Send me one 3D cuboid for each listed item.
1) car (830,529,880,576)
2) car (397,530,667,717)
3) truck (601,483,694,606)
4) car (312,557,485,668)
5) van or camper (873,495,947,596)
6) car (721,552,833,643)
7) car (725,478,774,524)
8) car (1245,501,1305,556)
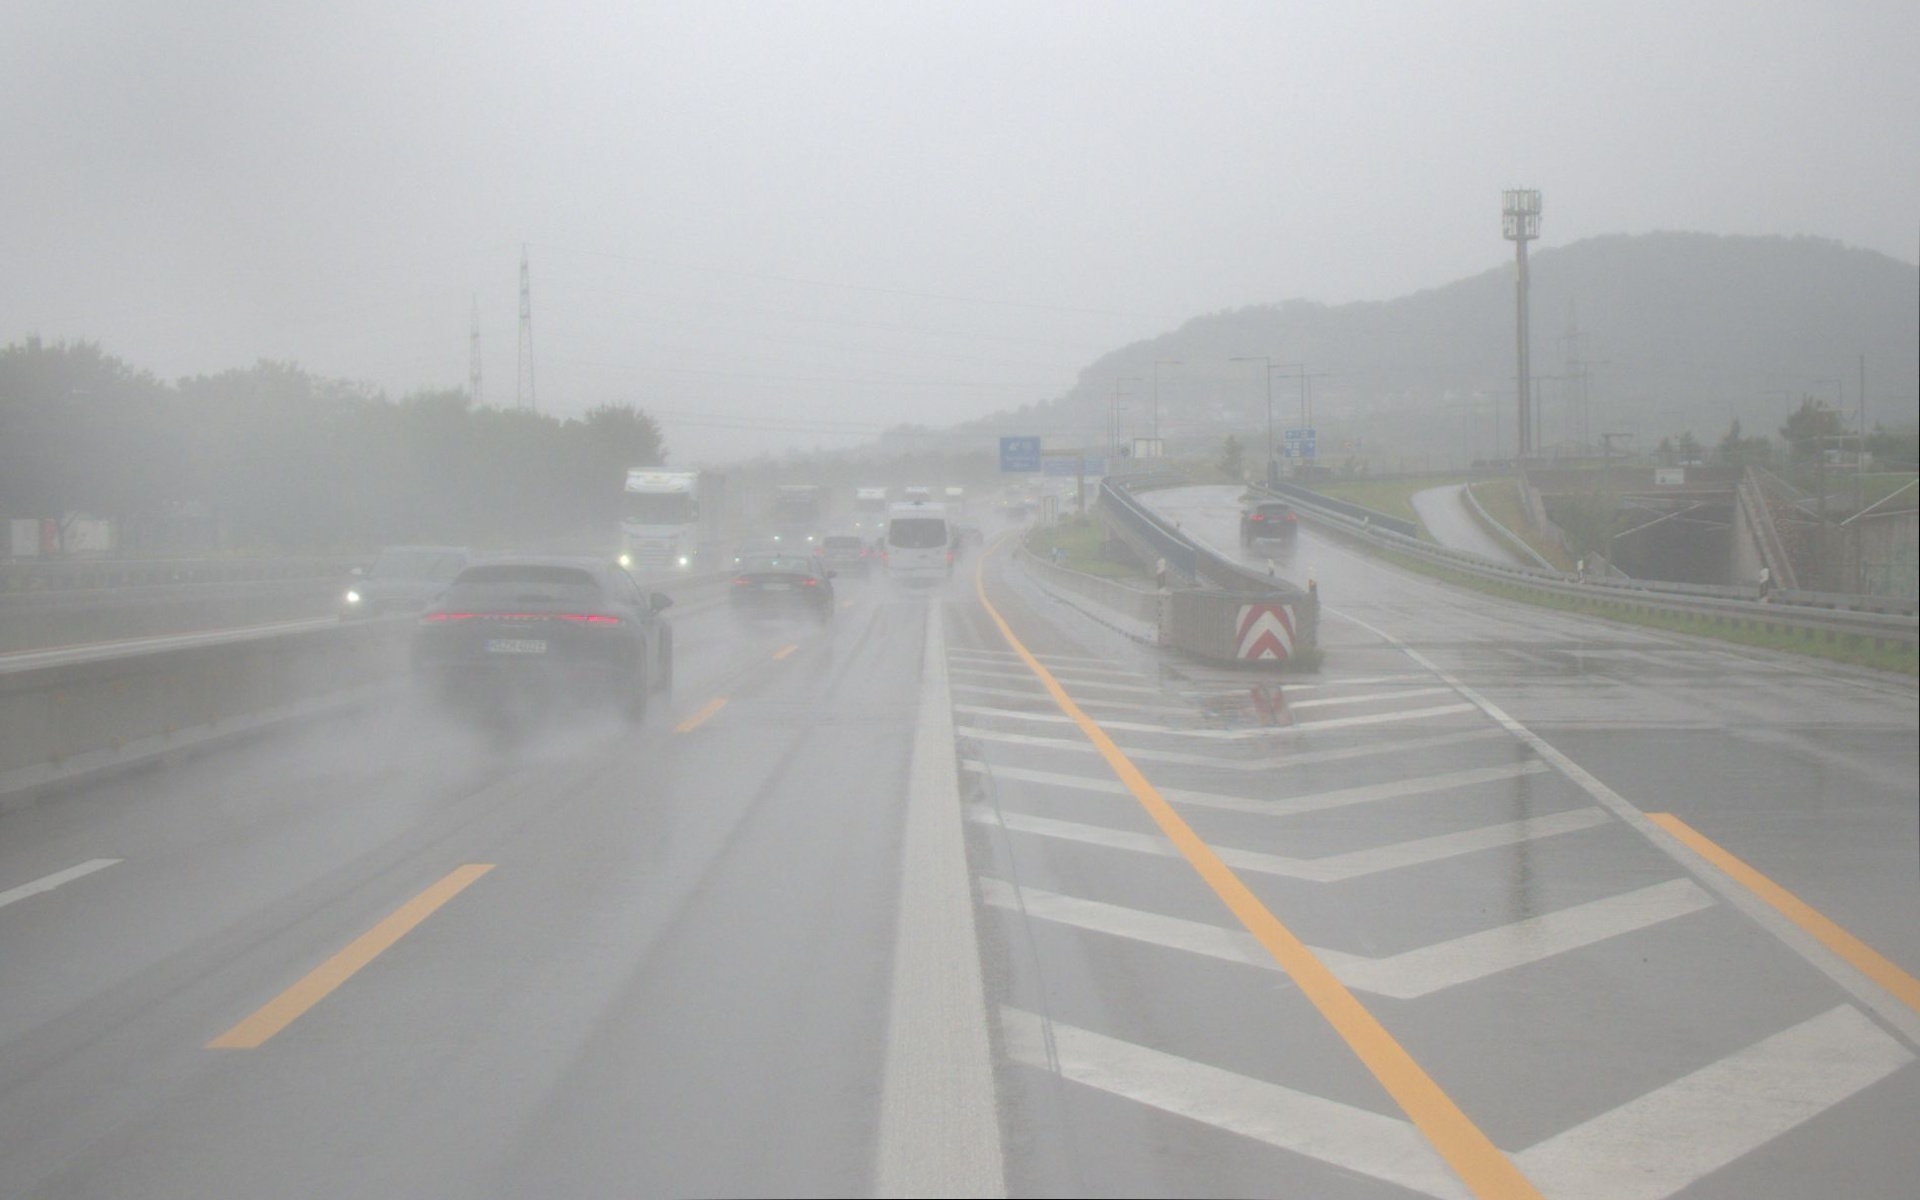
[{"bbox_3d":[-3.525,-1.589,115.683,1.566,1.475,2.822,-2,0,-1],"label":"car"},{"bbox_3d":[-3.641,0.167,29.900,1.844,1.486,4.262,1,1,-1],"label":"car"},{"bbox_3d":[-11.256,-1.985,124.141,2.708,4.263,6.750,1,1,0],"label":"truck"},{"bbox_3d":[-8.190,0.152,50.511,1.761,1.522,4.951,1,1,-1],"label":"car"},{"bbox_3d":[-1.396,-1.517,96.374,1.996,2.768,4.050,1,0,-1],"label":"van or camper"},{"bbox_3d":[-3.362,-0.072,63.764,1.844,1.486,4.262,-2,2,-1],"label":"car"},{"bbox_3d":[-13.556,-6.383,221.673,2.710,2.803,5.095,1,1,1],"label":"car"},{"bbox_3d":[12.696,-2.881,138.699,1.993,2.135,4.000,1,1,-1],"label":"car"}]
